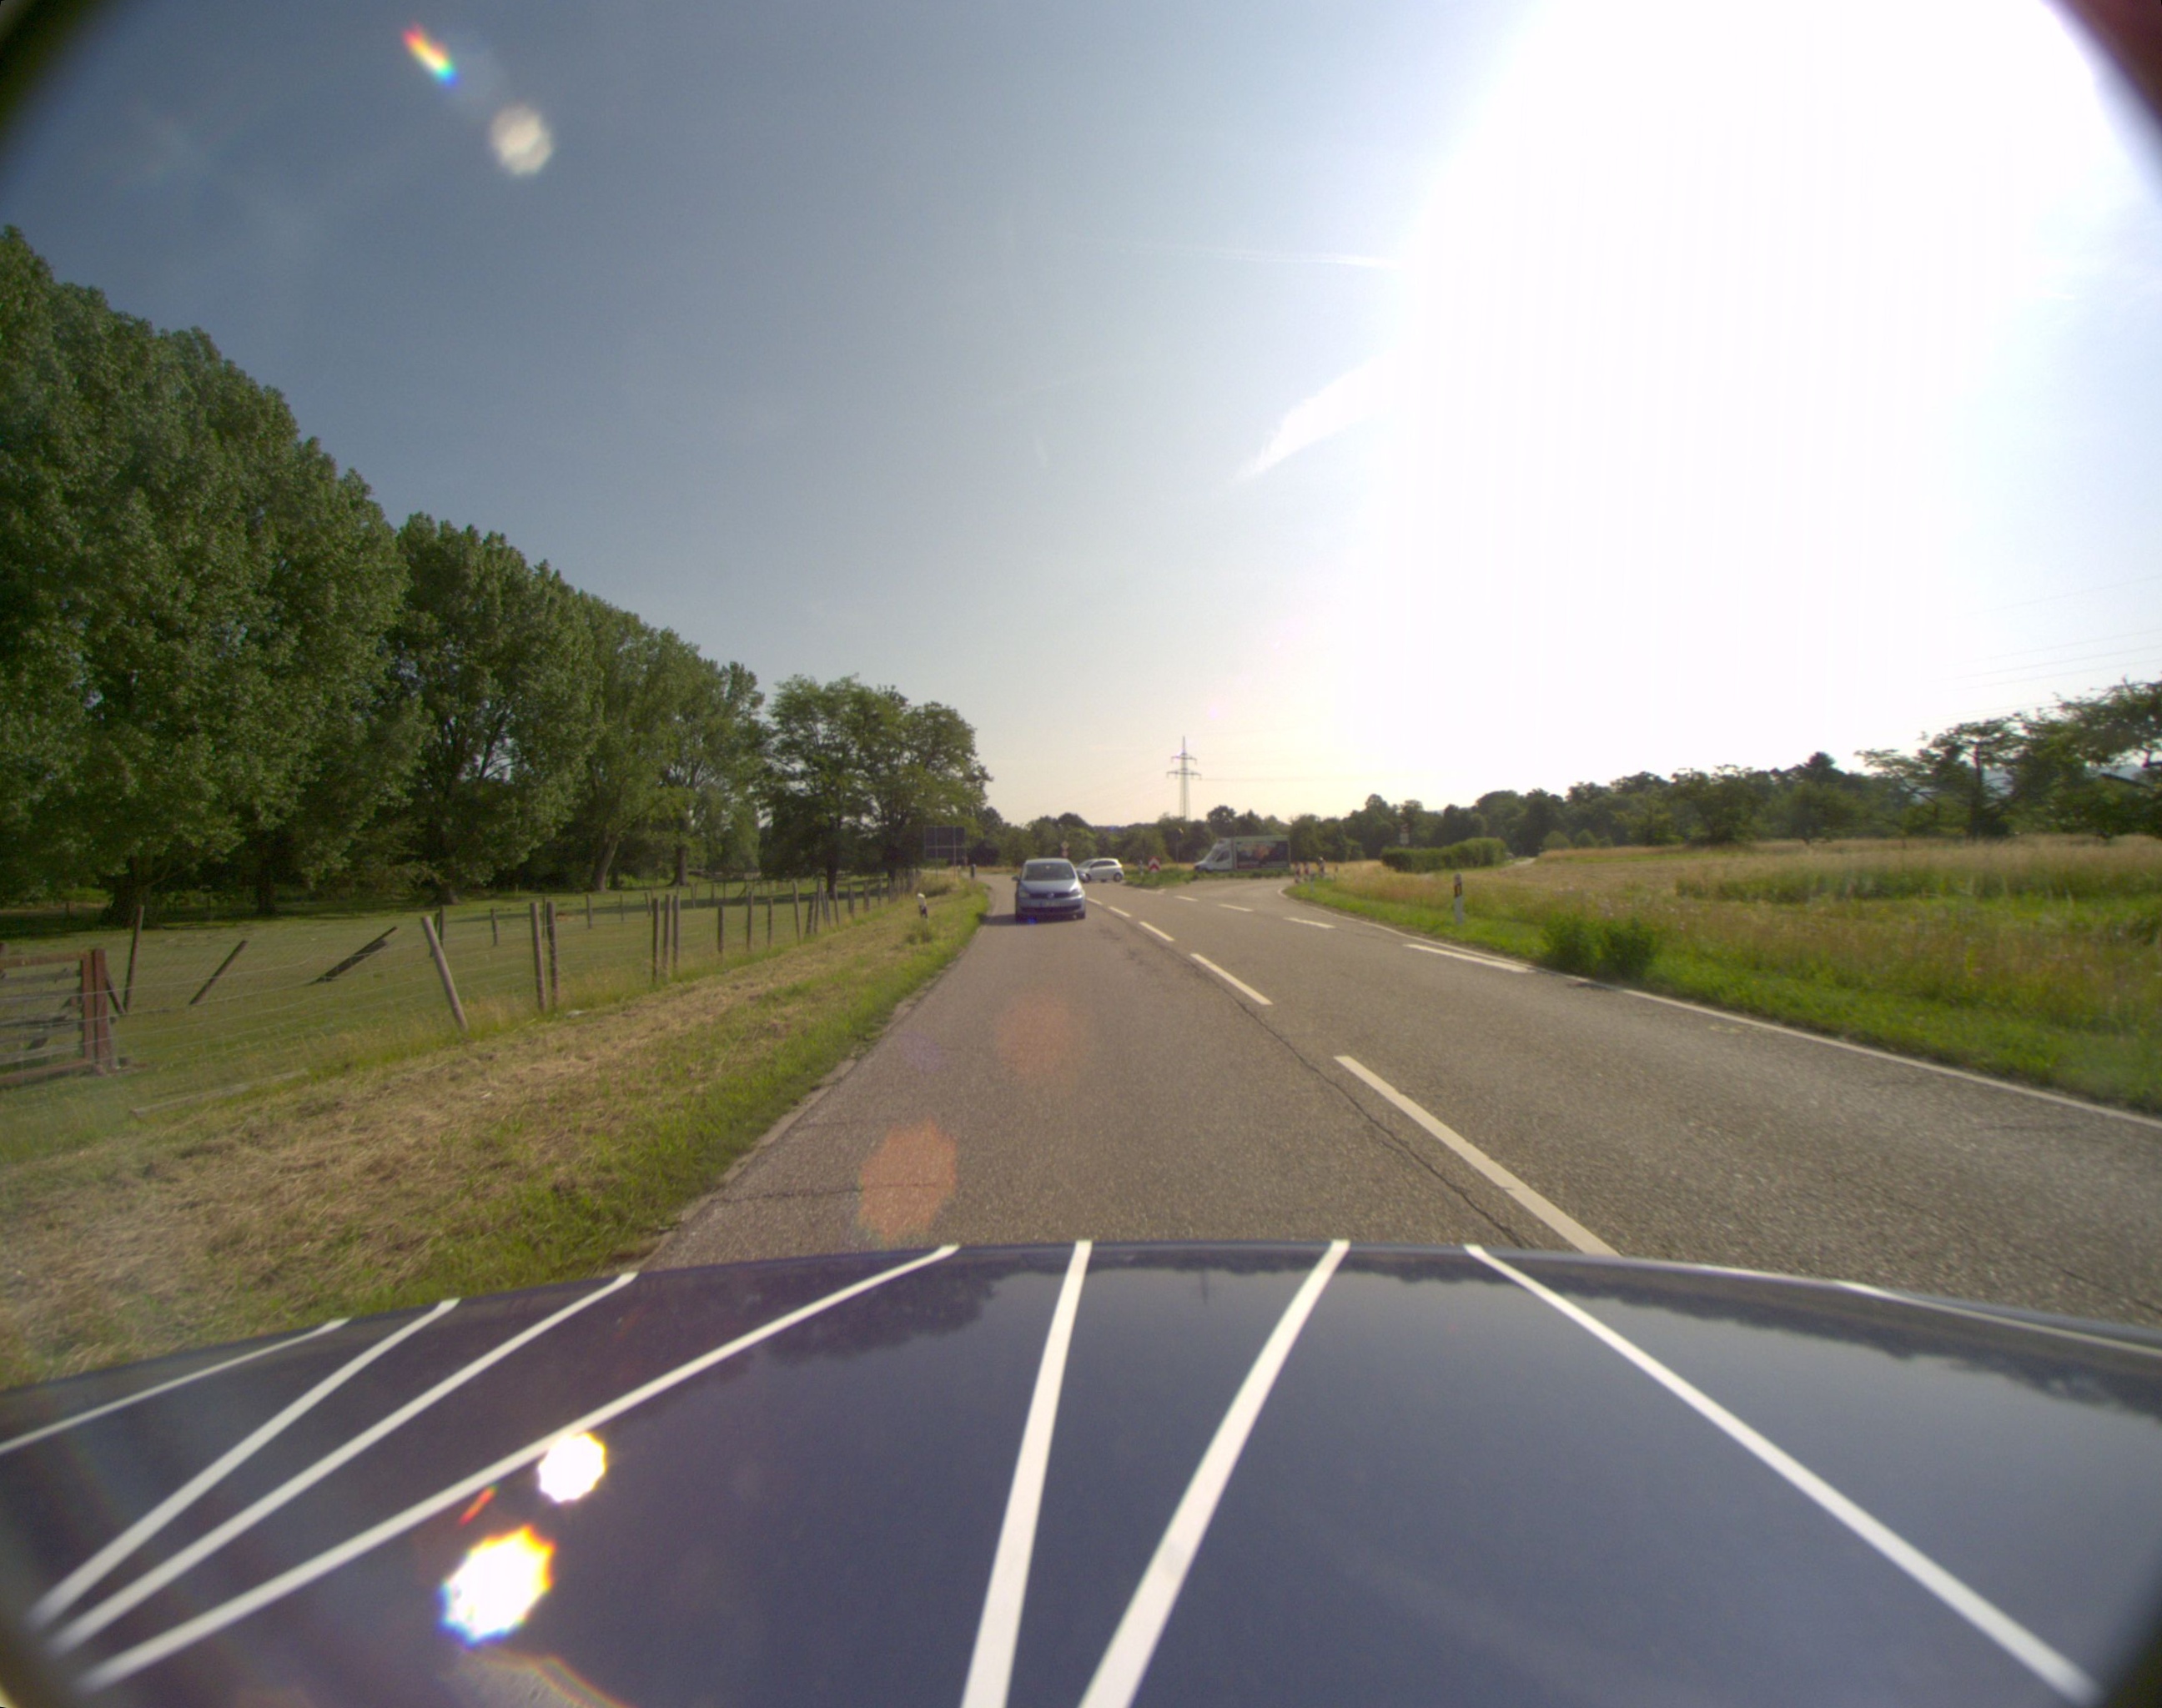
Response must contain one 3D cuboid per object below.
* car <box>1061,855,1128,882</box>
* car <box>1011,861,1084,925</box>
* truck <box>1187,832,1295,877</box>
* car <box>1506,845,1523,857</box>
[{"bbox_3d":[0.888,0.947,50.228,3.915,1.570,1.995,-3,0,-32],"label":"car"},{"bbox_3d":[-0.830,0.957,20.413,1.718,1.495,4.093,-2,0,-1],"label":"car"},{"bbox_3d":[11.796,-0.007,56.060,7.369,3.027,2.581,-2,0,-17],"label":"truck"},{"bbox_3d":[60.927,-0.377,106.710,1.813,1.543,4.008,-2,0,34],"label":"car"}]
